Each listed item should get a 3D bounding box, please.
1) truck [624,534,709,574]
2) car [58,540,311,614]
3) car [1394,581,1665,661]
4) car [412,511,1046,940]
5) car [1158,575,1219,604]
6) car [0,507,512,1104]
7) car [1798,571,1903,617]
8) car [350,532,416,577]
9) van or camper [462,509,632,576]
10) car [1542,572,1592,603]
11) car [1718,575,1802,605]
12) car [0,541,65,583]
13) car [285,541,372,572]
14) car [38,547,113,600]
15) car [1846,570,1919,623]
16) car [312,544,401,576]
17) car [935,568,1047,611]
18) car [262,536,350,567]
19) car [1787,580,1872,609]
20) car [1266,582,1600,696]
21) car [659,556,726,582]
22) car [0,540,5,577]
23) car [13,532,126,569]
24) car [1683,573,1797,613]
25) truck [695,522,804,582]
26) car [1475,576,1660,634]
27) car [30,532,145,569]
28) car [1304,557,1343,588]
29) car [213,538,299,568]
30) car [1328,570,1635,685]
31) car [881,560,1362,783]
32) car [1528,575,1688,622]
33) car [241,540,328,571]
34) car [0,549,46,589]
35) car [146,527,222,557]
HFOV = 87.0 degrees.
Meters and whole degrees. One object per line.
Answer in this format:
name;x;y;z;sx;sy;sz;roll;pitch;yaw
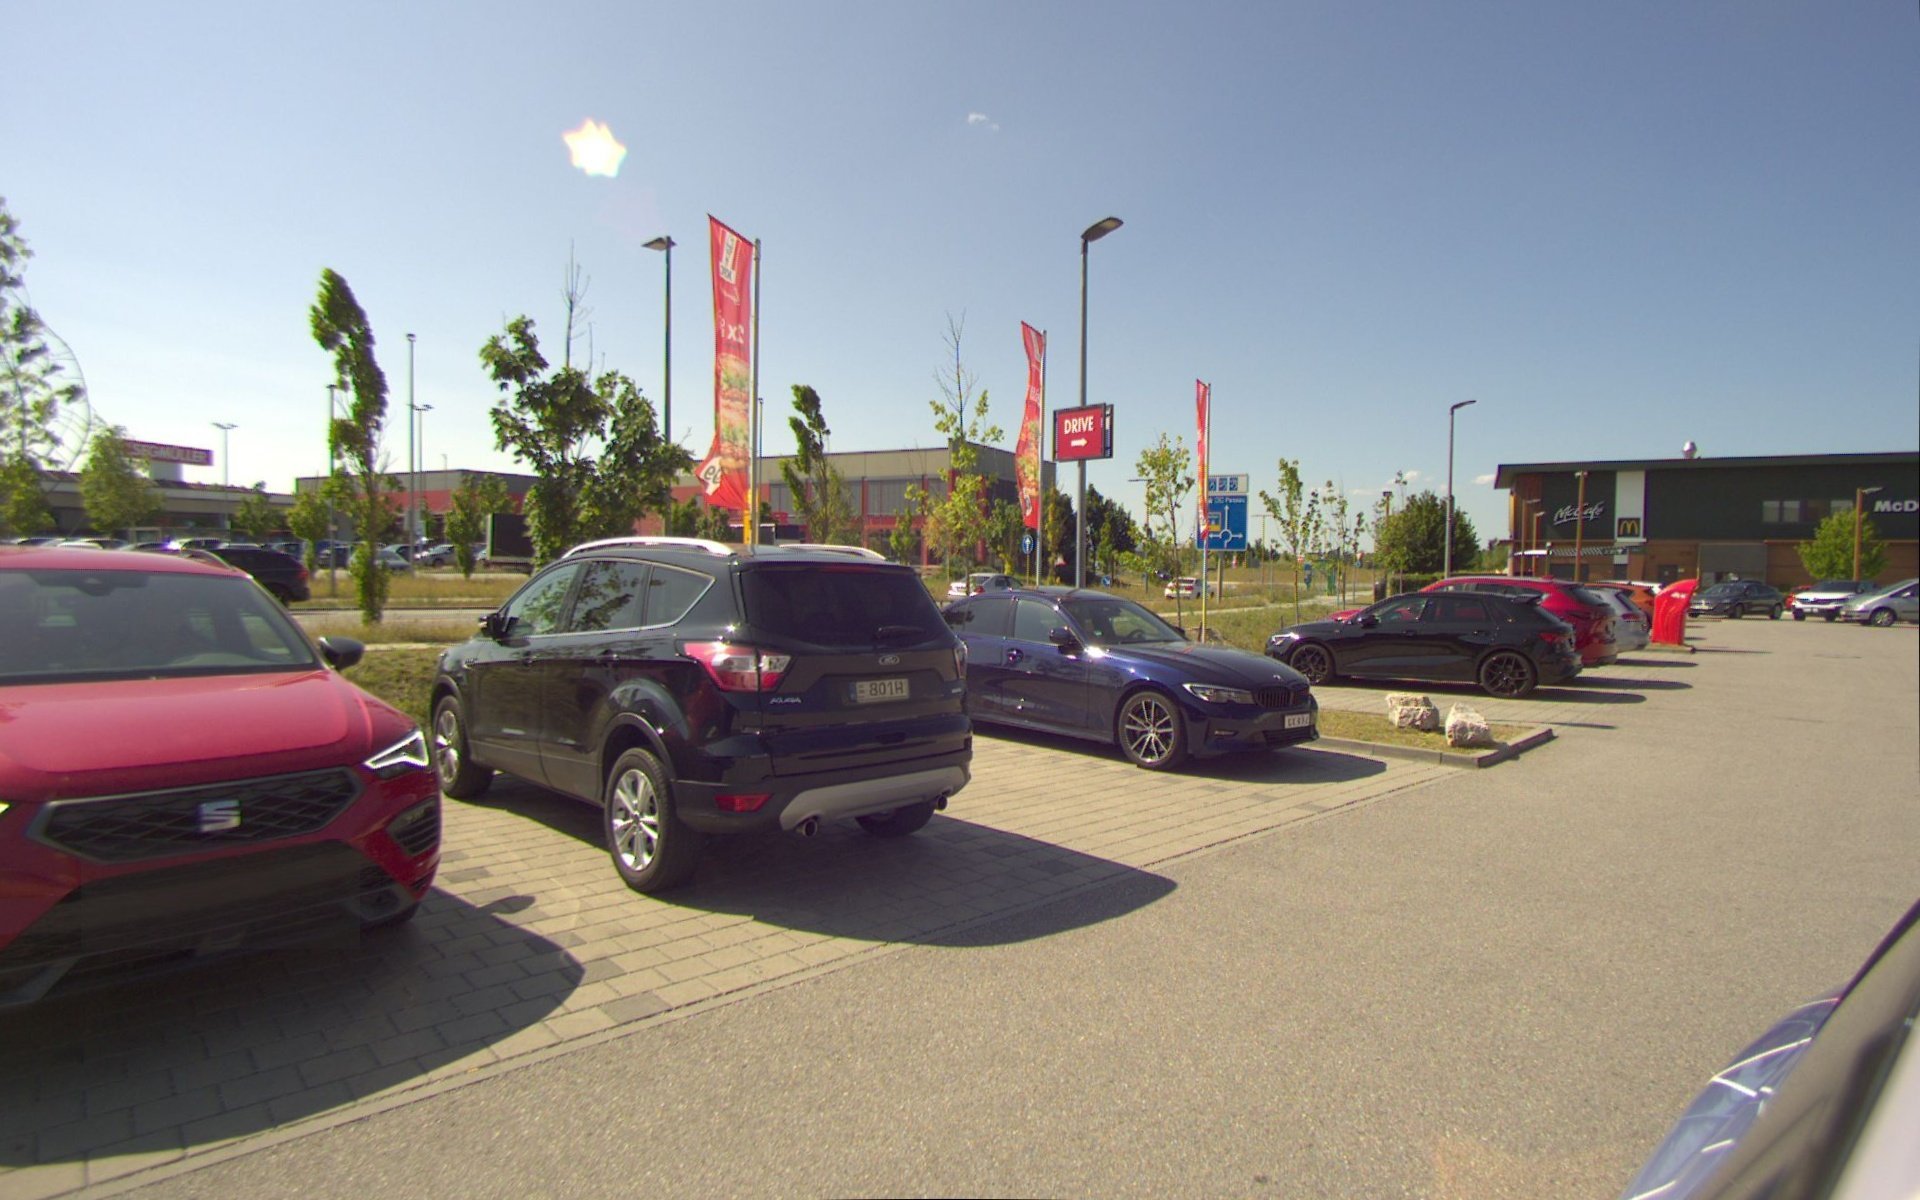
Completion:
truck;-22.203;-3.454;76.950;1.937;2.849;6.992;1;1;27
car;-19.025;-0.553;25.001;1.993;1.645;4.731;2;2;43
car;11.365;0.332;20.364;4.577;1.430;1.717;1;1;38
car;-1.705;0.455;6.275;1.865;1.724;4.321;-1;2;-45
car;12.802;-0.596;56.467;1.984;1.545;4.605;2;1;31
car;-3.873;0.527;4.439;4.061;1.629;1.869;1;1;39
car;34.372;-0.223;39.039;4.125;1.675;1.977;0;1;-33
car;-26.213;-2.041;45.930;1.920;1.878;4.401;0;2;-39
van or camper;-21.382;-2.884;52.558;7.893;3.140;2.423;0;1;-29
car;35.887;-0.778;59.931;1.976;1.712;4.201;2;2;24
car;46.719;-0.587;59.109;4.374;1.622;1.966;1;1;-23
car;-43.846;-1.743;46.003;1.937;1.878;4.363;2;1;27
car;-39.945;-2.743;64.108;1.937;1.878;4.363;2;1;27
car;-33.721;-1.019;38.692;1.964;1.878;4.283;0;2;-39
car;33.455;-0.111;34.399;4.638;1.770;1.816;1;2;27
car;-37.334;-2.479;62.727;1.937;1.878;4.363;2;1;27
car;1.260;-0.411;38.837;1.989;1.545;4.594;2;2;37
car;-42.018;-3.101;65.111;1.937;1.878;4.363;2;1;27
car;48.475;-0.307;56.412;4.375;1.483;1.966;0;1;-26
car;6.846;0.460;14.857;4.184;1.428;1.749;1;1;38
car;-15.871;-1.839;59.957;3.937;1.478;1.636;2;1;33
car;-50.729;-2.111;50.297;1.937;1.878;4.363;2;1;27
car;-49.419;-2.731;56.262;1.937;1.878;4.363;2;1;27
car;31.409;-0.291;40.762;4.120;1.545;1.979;0;1;-26
truck;-13.185;-2.986;63.195;6.784;3.524;2.736;2;1;33
car;16.964;0.098;28.377;4.324;1.487;1.811;1;1;35
car;-47.408;-2.665;55.082;1.937;1.878;4.363;2;1;27
car;27.079;-2.025;75.266;1.982;2.224;5.056;2;1;28
car;-47.010;-3.120;67.684;1.937;1.878;4.363;2;1;27
car;8.505;0.341;16.694;4.212;1.658;1.923;1;1;40
car;1.327;0.479;9.819;1.864;1.658;4.442;-1;2;-42
car;21.825;-0.081;34.214;4.452;1.487;1.811;1;1;35
car;-44.183;-2.875;66.301;1.937;1.878;4.363;2;1;27
car;-46.204;-1.493;47.614;1.937;1.878;4.363;2;1;27
car;-56.277;-4.197;73.476;1.983;2.039;3.958;2;1;30
